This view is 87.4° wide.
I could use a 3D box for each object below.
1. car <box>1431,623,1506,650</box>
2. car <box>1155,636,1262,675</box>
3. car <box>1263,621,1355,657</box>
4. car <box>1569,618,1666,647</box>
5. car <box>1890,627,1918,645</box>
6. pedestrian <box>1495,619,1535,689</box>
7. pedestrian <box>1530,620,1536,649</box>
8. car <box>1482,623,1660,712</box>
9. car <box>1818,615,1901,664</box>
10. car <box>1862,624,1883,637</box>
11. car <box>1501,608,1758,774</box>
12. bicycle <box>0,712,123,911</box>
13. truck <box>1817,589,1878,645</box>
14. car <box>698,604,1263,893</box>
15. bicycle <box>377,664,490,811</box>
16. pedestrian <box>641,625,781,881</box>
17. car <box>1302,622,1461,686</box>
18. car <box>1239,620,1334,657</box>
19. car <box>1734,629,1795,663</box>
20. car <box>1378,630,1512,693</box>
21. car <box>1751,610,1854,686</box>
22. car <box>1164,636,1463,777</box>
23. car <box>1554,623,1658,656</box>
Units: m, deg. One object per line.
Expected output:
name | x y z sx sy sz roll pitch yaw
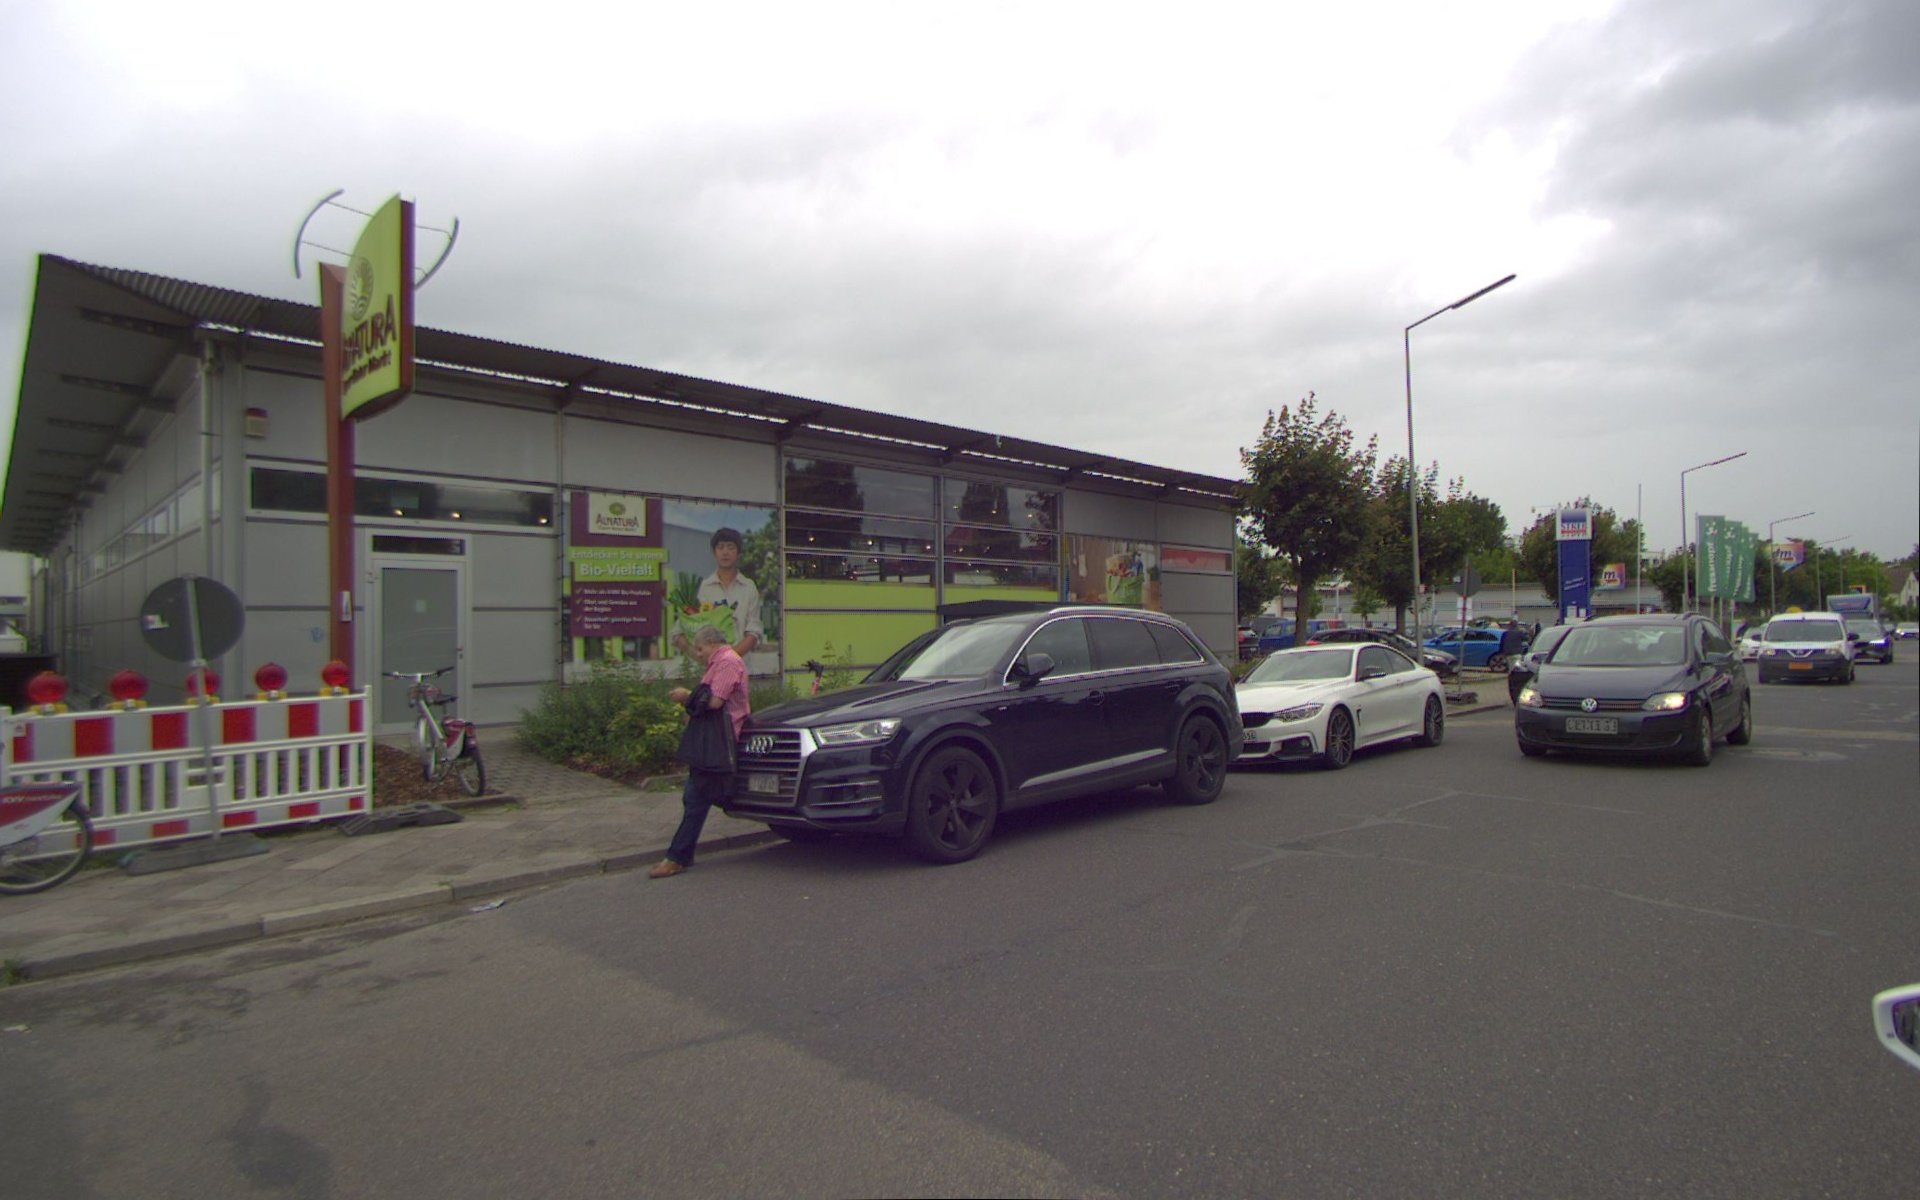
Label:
car | 32.665 2.354 64.598 1.864 1.691 3.948 1 -2 -44
car | 10.346 2.327 41.929 3.937 1.504 1.869 -3 -3 37
car | 17.319 1.918 49.961 1.864 1.691 3.948 1 -2 -44
car | 34.737 1.736 53.135 4.087 1.482 1.889 -2 -2 40
car | 82.775 3.186 88.072 3.505 1.548 1.583 2 -4 -45
pedestrian | 14.074 1.352 25.489 0.766 1.738 0.693 0 -1 41
pedestrian | 34.095 2.043 59.762 0.259 1.752 0.421 -1 -1 33
car | 12.214 1.298 19.966 4.374 1.546 1.928 1 -6 -45
car | 33.788 1.466 37.697 4.463 1.706 1.915 1 -3 -43
car | 100.448 3.329 110.547 1.606 1.393 3.432 1 -1 44
car | 7.867 0.941 11.658 3.921 1.592 1.712 1 -3 -45
bicycle | -6.059 1.245 5.765 1.885 1.091 0.539 2 -2 -39
truck | 67.075 1.321 75.857 6.362 4.007 2.945 1 -3 -45
car | 0.426 0.989 8.287 4.697 1.713 1.848 1 -5 -44
bicycle | -4.781 1.194 9.077 1.642 1.060 0.390 4 2 44
pedestrian | -1.728 1.017 6.946 0.649 1.642 0.667 1 -6 -44
car | 12.176 1.498 29.146 1.915 1.642 3.835 1 -1 -44
car | 15.600 1.849 48.105 1.864 1.691 3.948 1 -2 -44
car | 34.633 1.941 43.316 1.874 1.385 3.985 -2 -2 37
car | 16.784 2.073 34.824 3.882 2.040 1.753 -1 -2 39
car | 21.707 1.209 25.827 1.672 1.784 4.109 -4 -4 44
car | 4.522 1.231 12.445 1.682 1.385 4.490 -8 -7 44
car | 31.809 1.946 49.503 4.152 1.482 1.945 -4 -3 38
